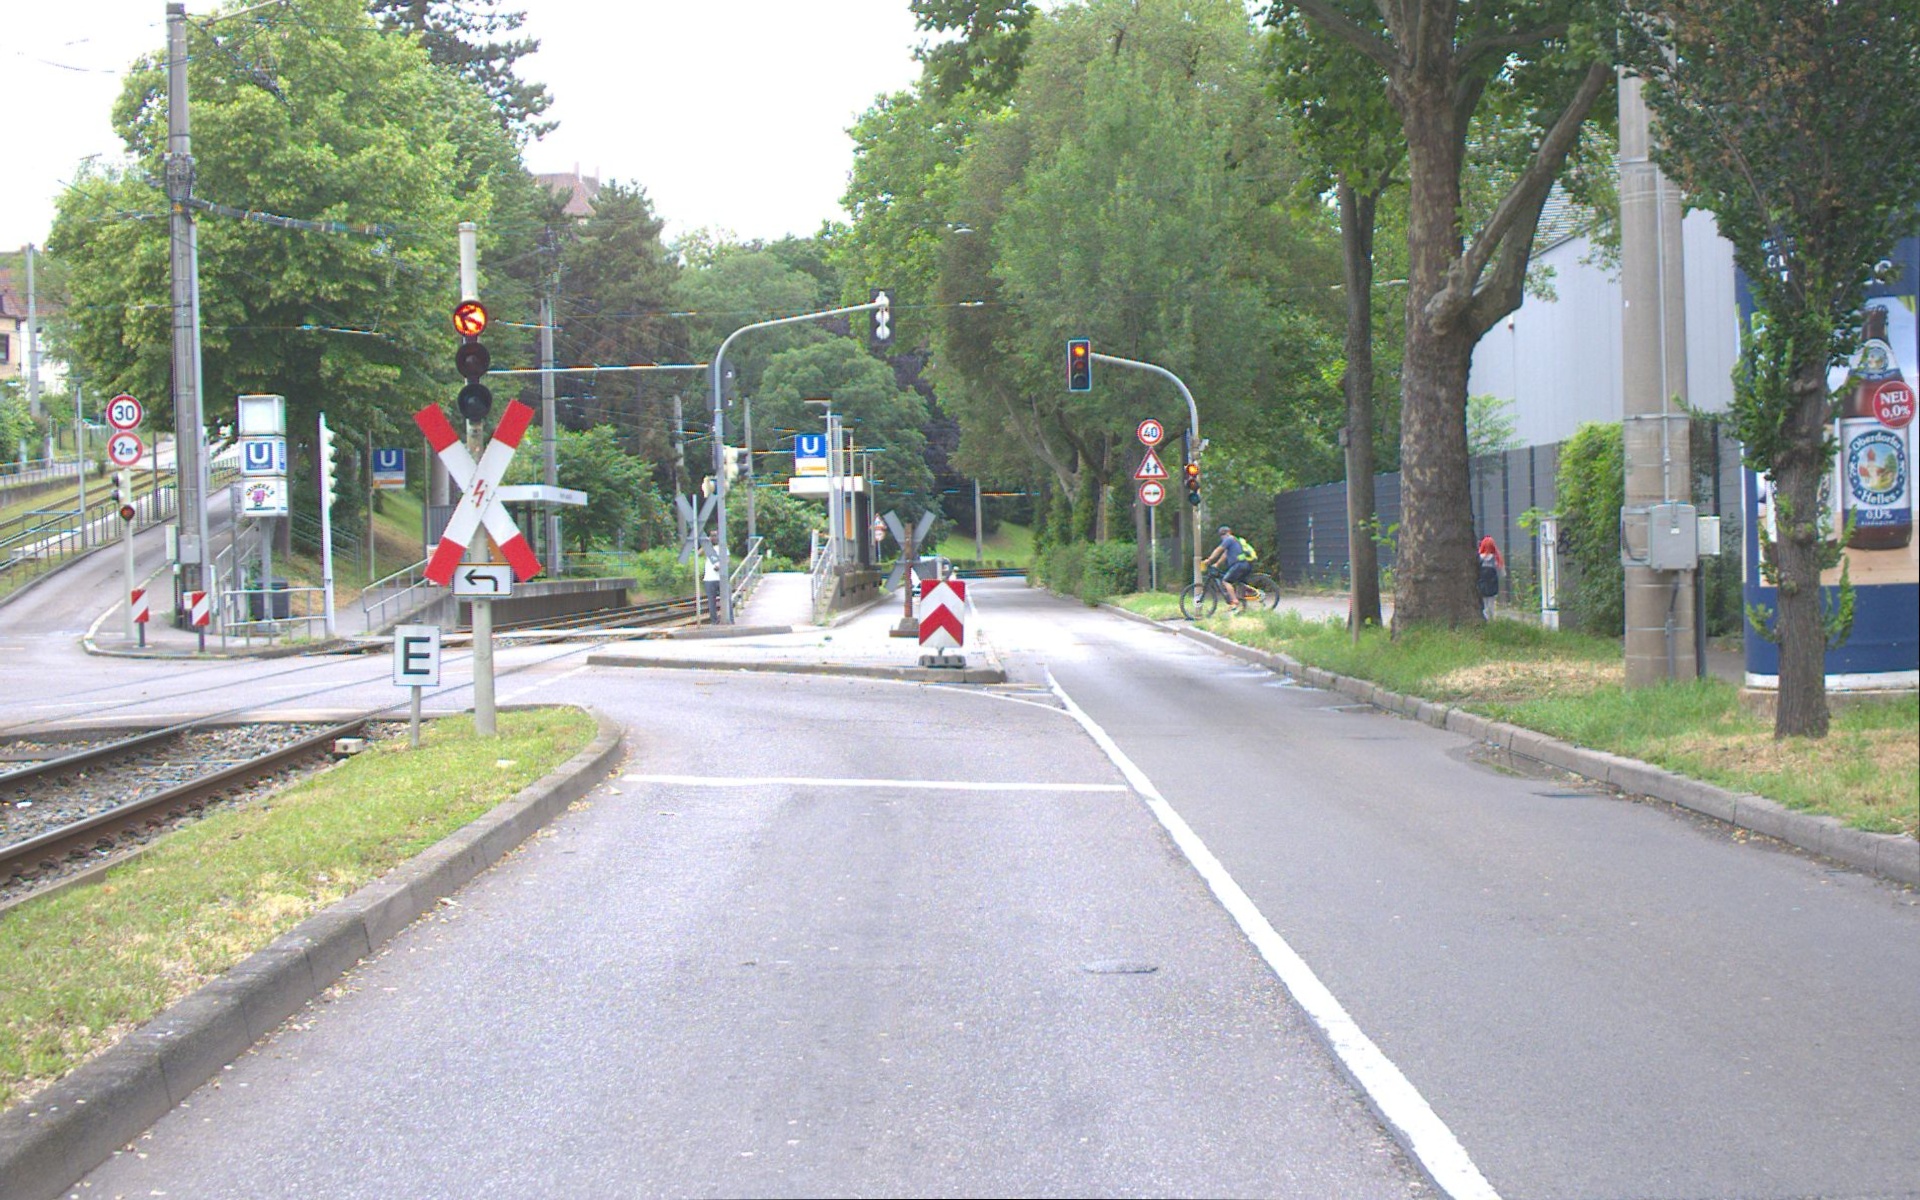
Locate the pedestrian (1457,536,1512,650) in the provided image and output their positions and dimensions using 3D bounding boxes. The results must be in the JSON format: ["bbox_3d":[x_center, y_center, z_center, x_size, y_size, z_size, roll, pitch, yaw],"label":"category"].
[{"bbox_3d":[7.252,-0.105,47.538,0.666,1.548,0.934,-1,1,6],"label":"pedestrian"}]

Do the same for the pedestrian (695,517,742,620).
[{"bbox_3d":[-4.408,-0.580,62.749,0.768,1.846,0.910,-1,1,-1],"label":"pedestrian"}]

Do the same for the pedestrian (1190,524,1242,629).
[{"bbox_3d":[4.956,-0.454,66.491,0.931,2.007,0.668,-1,1,7],"label":"pedestrian"}]

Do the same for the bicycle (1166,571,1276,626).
[{"bbox_3d":[5.051,-0.022,66.496,2.075,1.003,0.668,-1,1,6],"label":"bicycle"}]
